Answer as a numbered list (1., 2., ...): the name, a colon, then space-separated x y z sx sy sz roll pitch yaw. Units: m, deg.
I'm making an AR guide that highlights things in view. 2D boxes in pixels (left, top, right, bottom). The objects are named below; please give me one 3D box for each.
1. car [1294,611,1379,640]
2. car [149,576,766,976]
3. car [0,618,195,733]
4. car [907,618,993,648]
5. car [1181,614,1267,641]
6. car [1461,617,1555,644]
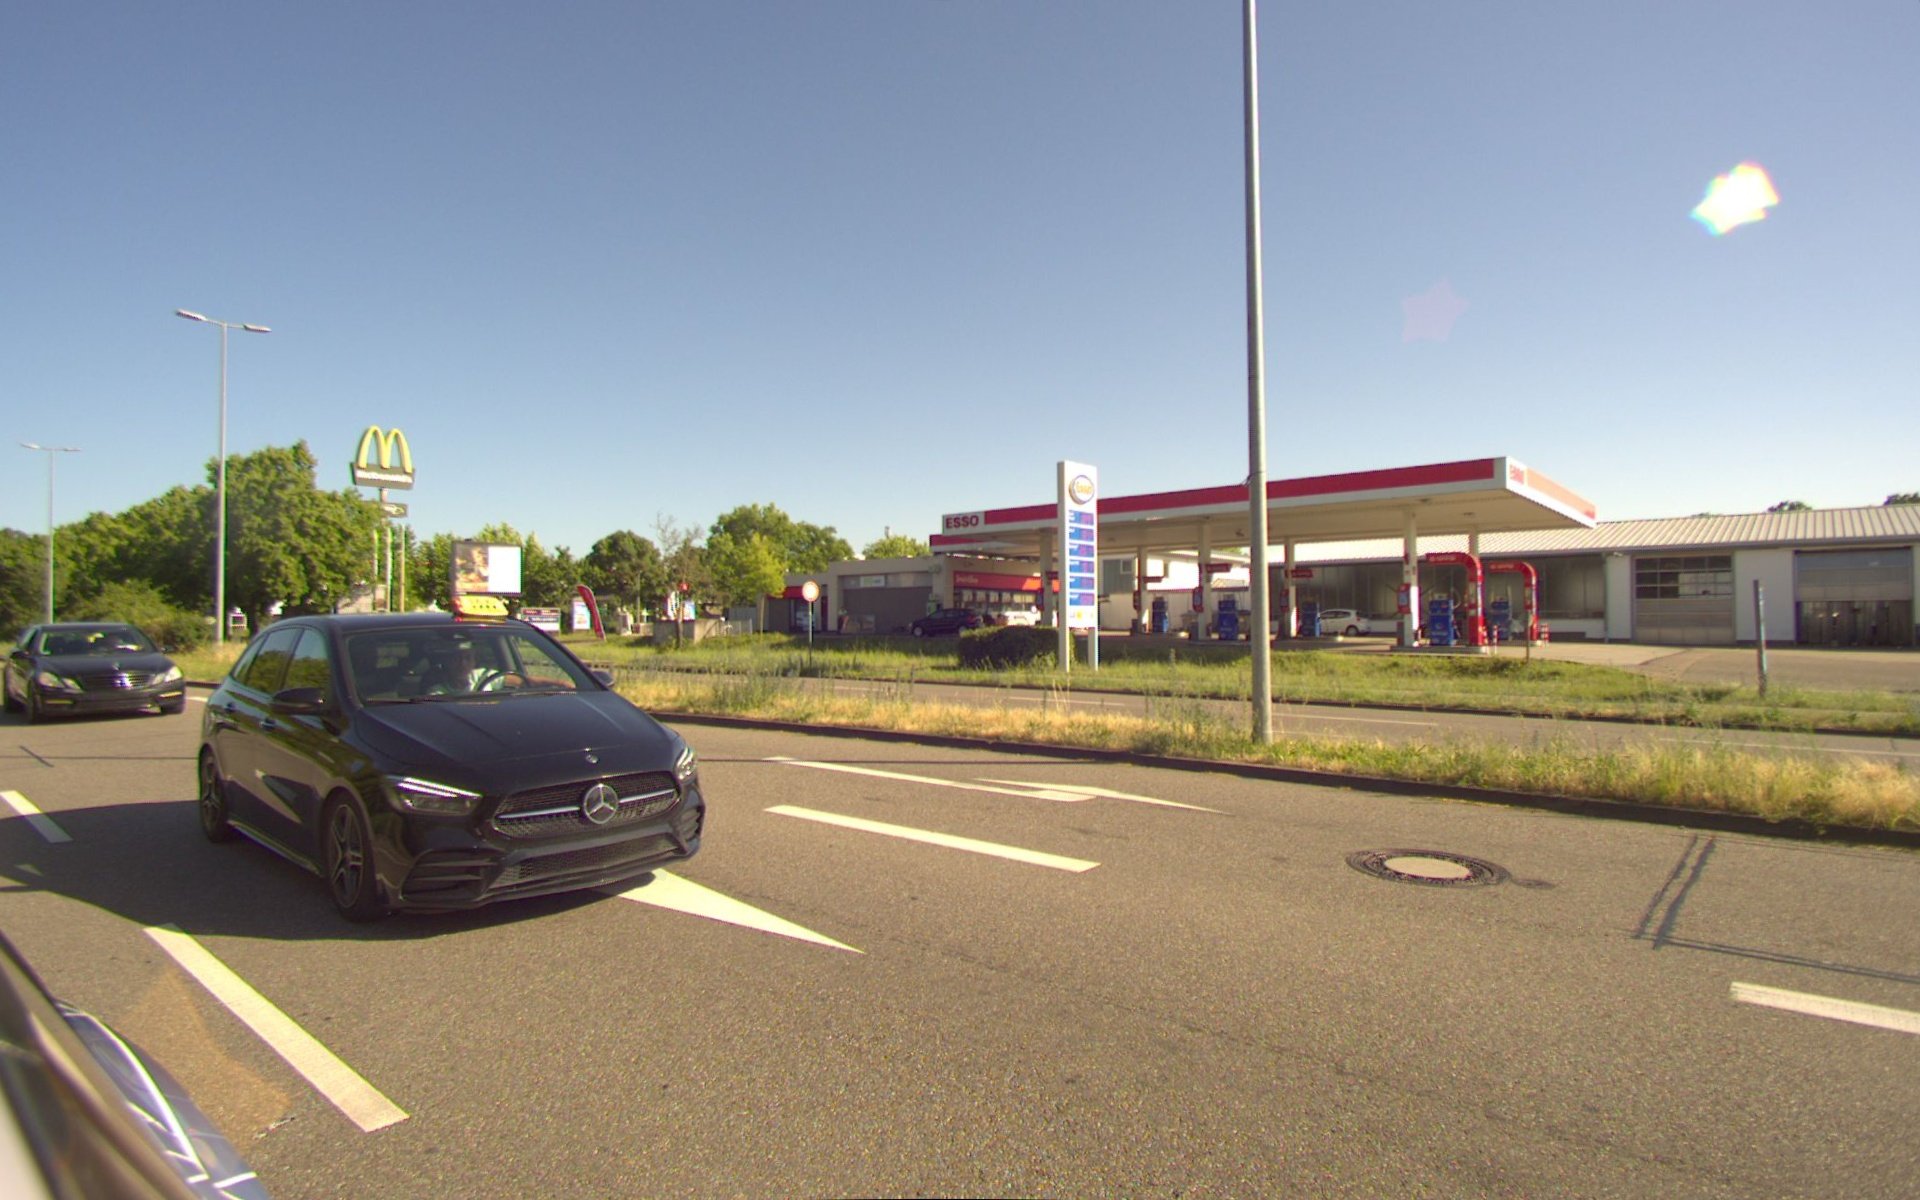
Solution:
1. car: 20.322 1.359 54.624 3.855 1.500 1.973 -1 0 41
2. car: -3.356 0.758 6.259 4.580 1.614 1.765 -2 -1 40
3. car: -13.943 1.077 16.129 4.461 1.521 1.927 -1 0 41
4. car: -0.529 1.643 50.842 3.998 1.416 1.973 -2 -2 41
5. car: 15.483 1.580 59.479 4.540 1.477 1.973 -1 0 41
6. car: 26.561 1.446 49.120 3.729 1.196 1.658 -1 0 41
